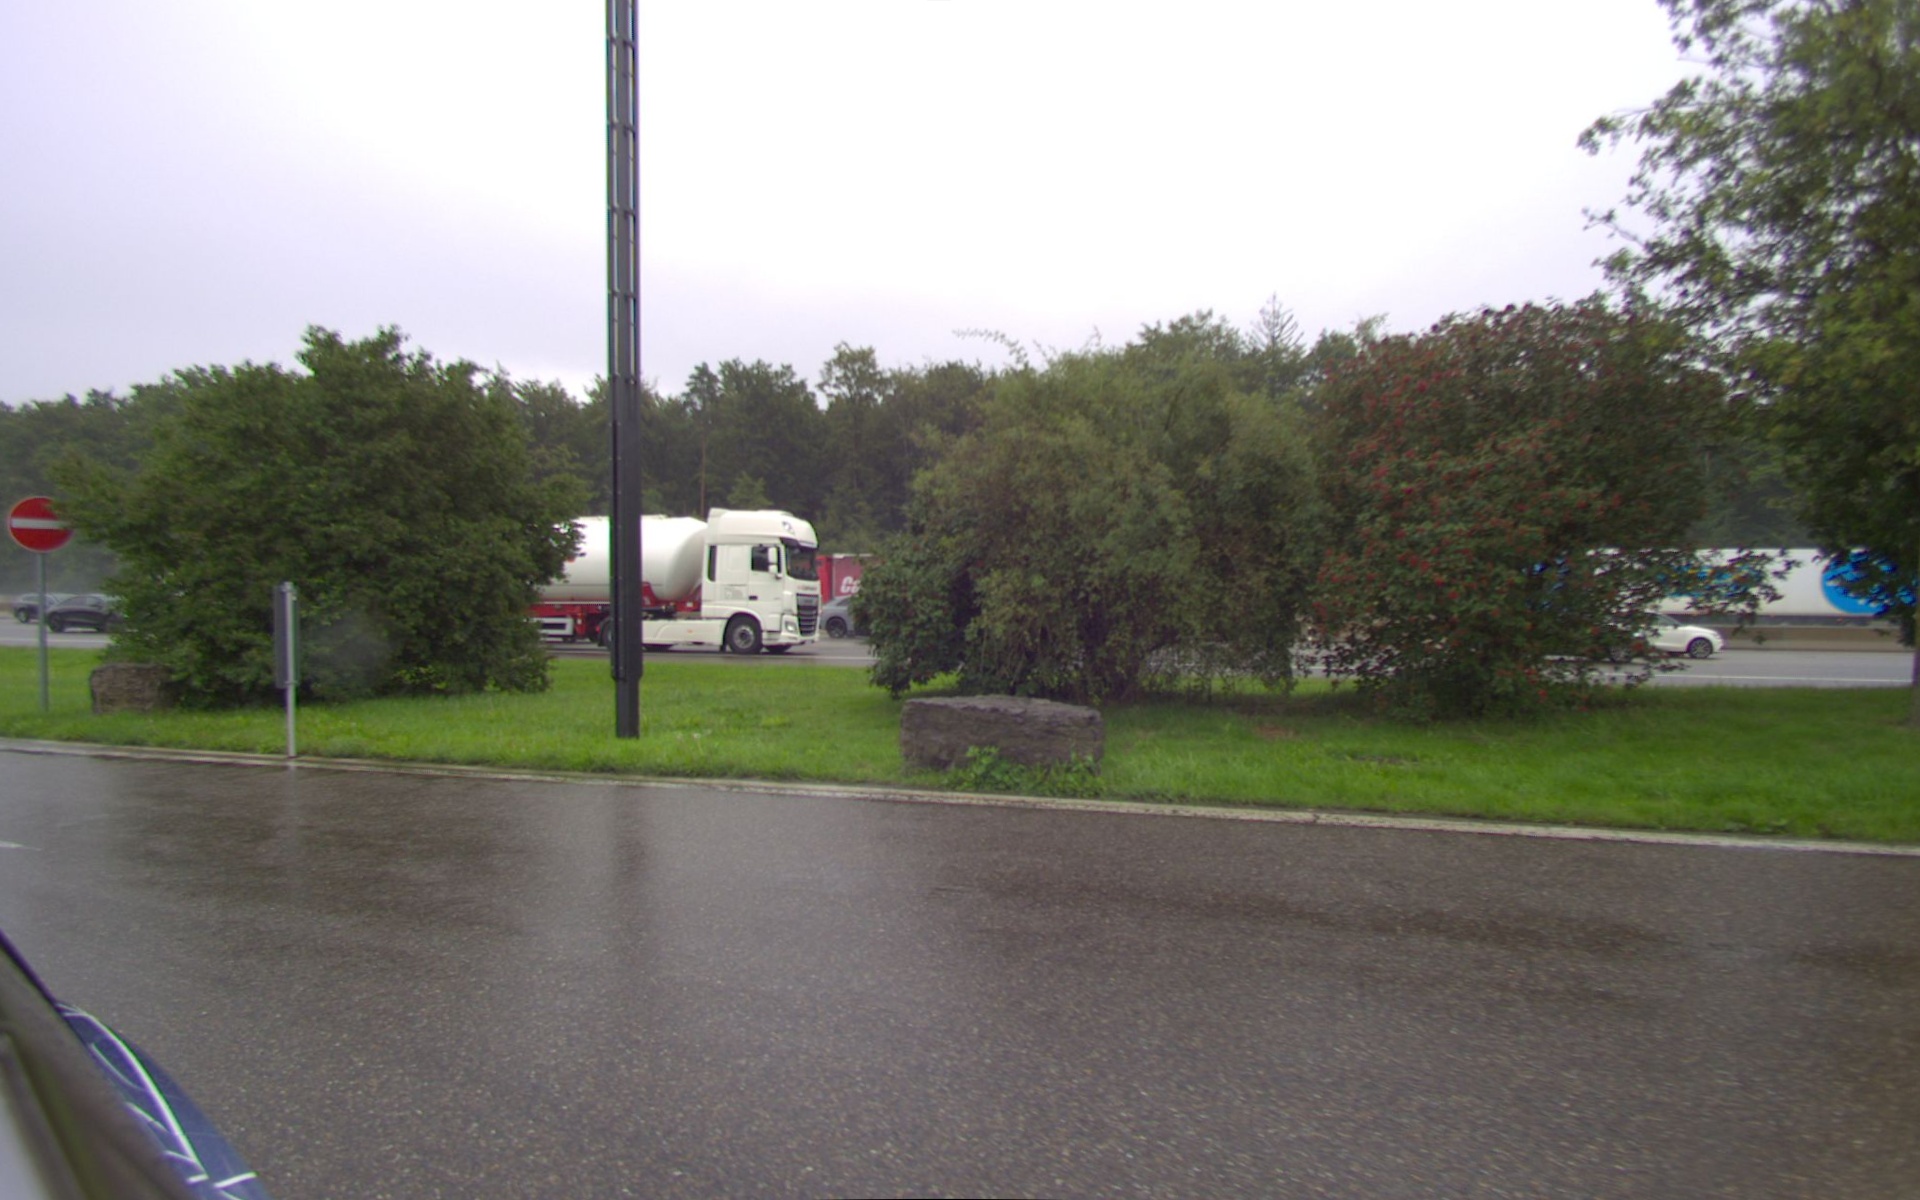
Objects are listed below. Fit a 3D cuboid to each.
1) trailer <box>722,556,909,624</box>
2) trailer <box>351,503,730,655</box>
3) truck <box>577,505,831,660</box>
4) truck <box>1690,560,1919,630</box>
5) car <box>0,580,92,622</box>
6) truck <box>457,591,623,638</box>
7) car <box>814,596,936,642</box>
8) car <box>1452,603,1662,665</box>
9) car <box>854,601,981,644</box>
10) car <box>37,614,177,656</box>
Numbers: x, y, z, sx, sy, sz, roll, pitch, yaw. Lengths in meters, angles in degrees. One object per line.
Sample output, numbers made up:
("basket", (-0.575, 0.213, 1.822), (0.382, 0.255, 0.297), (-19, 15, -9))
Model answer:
("trailer", (-8.496, -0.592, 59.624), (10.627, 3.640, 2.457), (-1, 3, 12))
("trailer", (-12.391, -0.575, 29.870), (10.937, 4.056, 2.758), (0, 0, 15))
("truck", (-7.132, -0.487, 28.463), (6.446, 4.038, 2.746), (0, 1, 15))
("truck", (38.167, -0.194, 45.138), (8.850, 2.973, 2.246), (0, -1, 12))
("car", (-45.233, 0.025, 49.766), (3.963, 2.029, 1.990), (0, 1, 15))
("truck", (-23.874, 0.870, 57.474), (9.223, 2.479, 2.099), (-1, -3, 13))
("car", (-3.259, 0.704, 39.214), (4.363, 1.681, 1.815), (1, -1, 15))
("car", (15.895, 0.871, 27.195), (4.456, 1.492, 1.879), (1, 0, 12))
("car", (-1.462, 0.770, 35.110), (4.085, 1.425, 1.815), (0, 0, 15))
("car", (-33.276, 1.367, 39.510), (4.459, 1.590, 1.990), (-1, -2, 15))
